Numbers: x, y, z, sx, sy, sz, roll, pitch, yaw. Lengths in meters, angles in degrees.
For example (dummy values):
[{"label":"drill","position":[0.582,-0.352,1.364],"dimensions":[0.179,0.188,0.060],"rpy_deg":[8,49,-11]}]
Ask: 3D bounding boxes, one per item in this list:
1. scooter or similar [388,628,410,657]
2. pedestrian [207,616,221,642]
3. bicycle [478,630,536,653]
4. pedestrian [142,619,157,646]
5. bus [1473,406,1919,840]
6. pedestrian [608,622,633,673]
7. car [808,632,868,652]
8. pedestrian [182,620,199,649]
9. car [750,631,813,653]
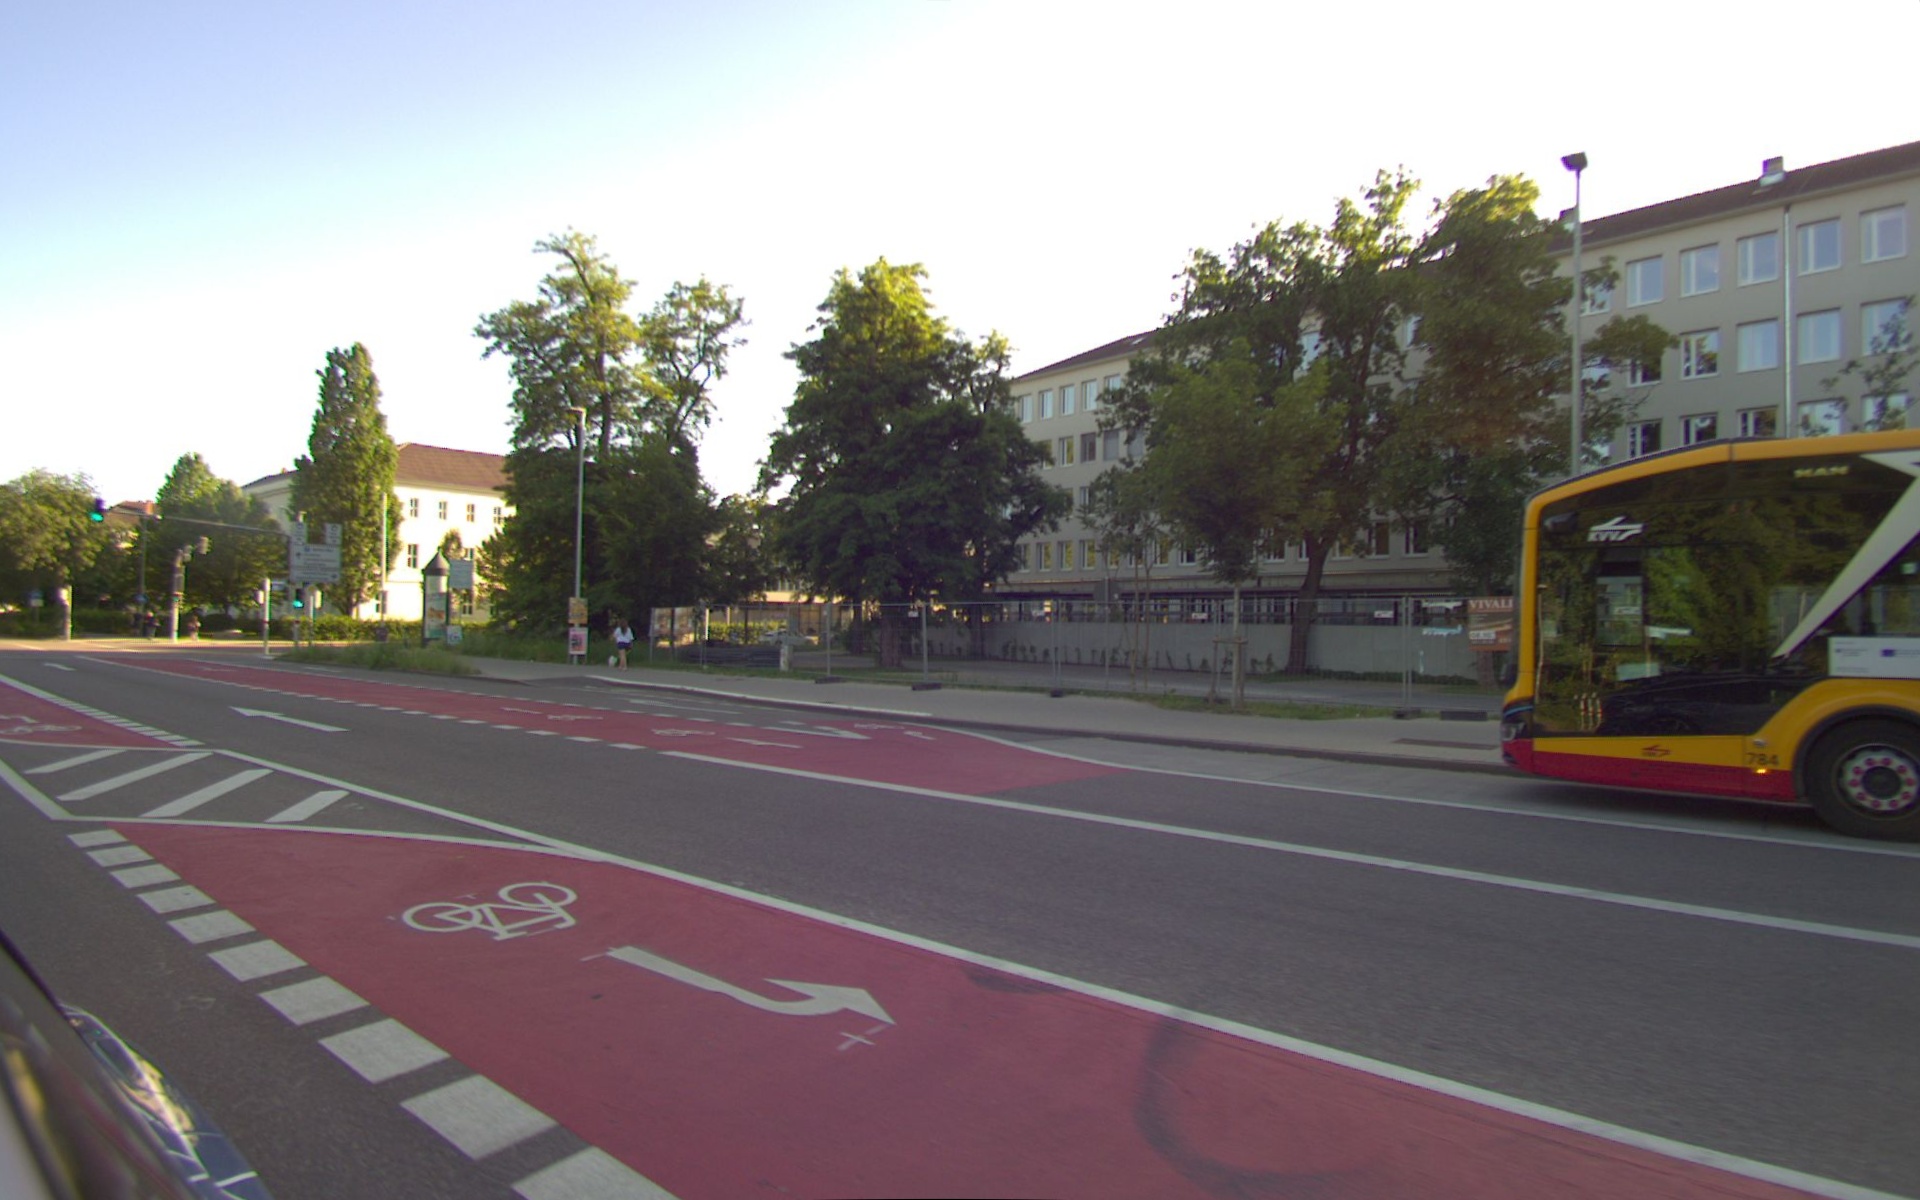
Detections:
[{"label":"scooter or similar","position":[-25.691,1.957,46.374],"dimensions":[0.683,1.304,1.501],"rpy_deg":[2,-2,-22]},{"label":"pedestrian","position":[-52.272,2.054,70.888],"dimensions":[0.681,1.830,0.681],"rpy_deg":[3,-3,-43]},{"label":"bicycle","position":[-23.452,2.155,52.422],"dimensions":[0.980,1.144,2.542],"rpy_deg":[-1,-3,43]},{"label":"pedestrian","position":[-51.616,2.075,64.443],"dimensions":[0.681,1.694,0.681],"rpy_deg":[3,-3,-43]},{"label":"bus","position":[8.981,0.199,7.789],"dimensions":[8.593,3.221,2.811],"rpy_deg":[-1,-3,40]},{"label":"pedestrian","position":[-10.410,1.456,31.060],"dimensions":[0.570,1.545,0.447],"rpy_deg":[-1,-2,35]},{"label":"car","position":[-9.631,3.320,80.150],"dimensions":[4.195,1.551,2.239],"rpy_deg":[3,-3,-43]},{"label":"pedestrian","position":[-48.274,2.160,63.498],"dimensions":[0.734,1.830,0.727],"rpy_deg":[3,-3,-43]},{"label":"car","position":[-13.395,3.163,76.118],"dimensions":[4.195,1.551,2.071],"rpy_deg":[3,-3,-43]}]
